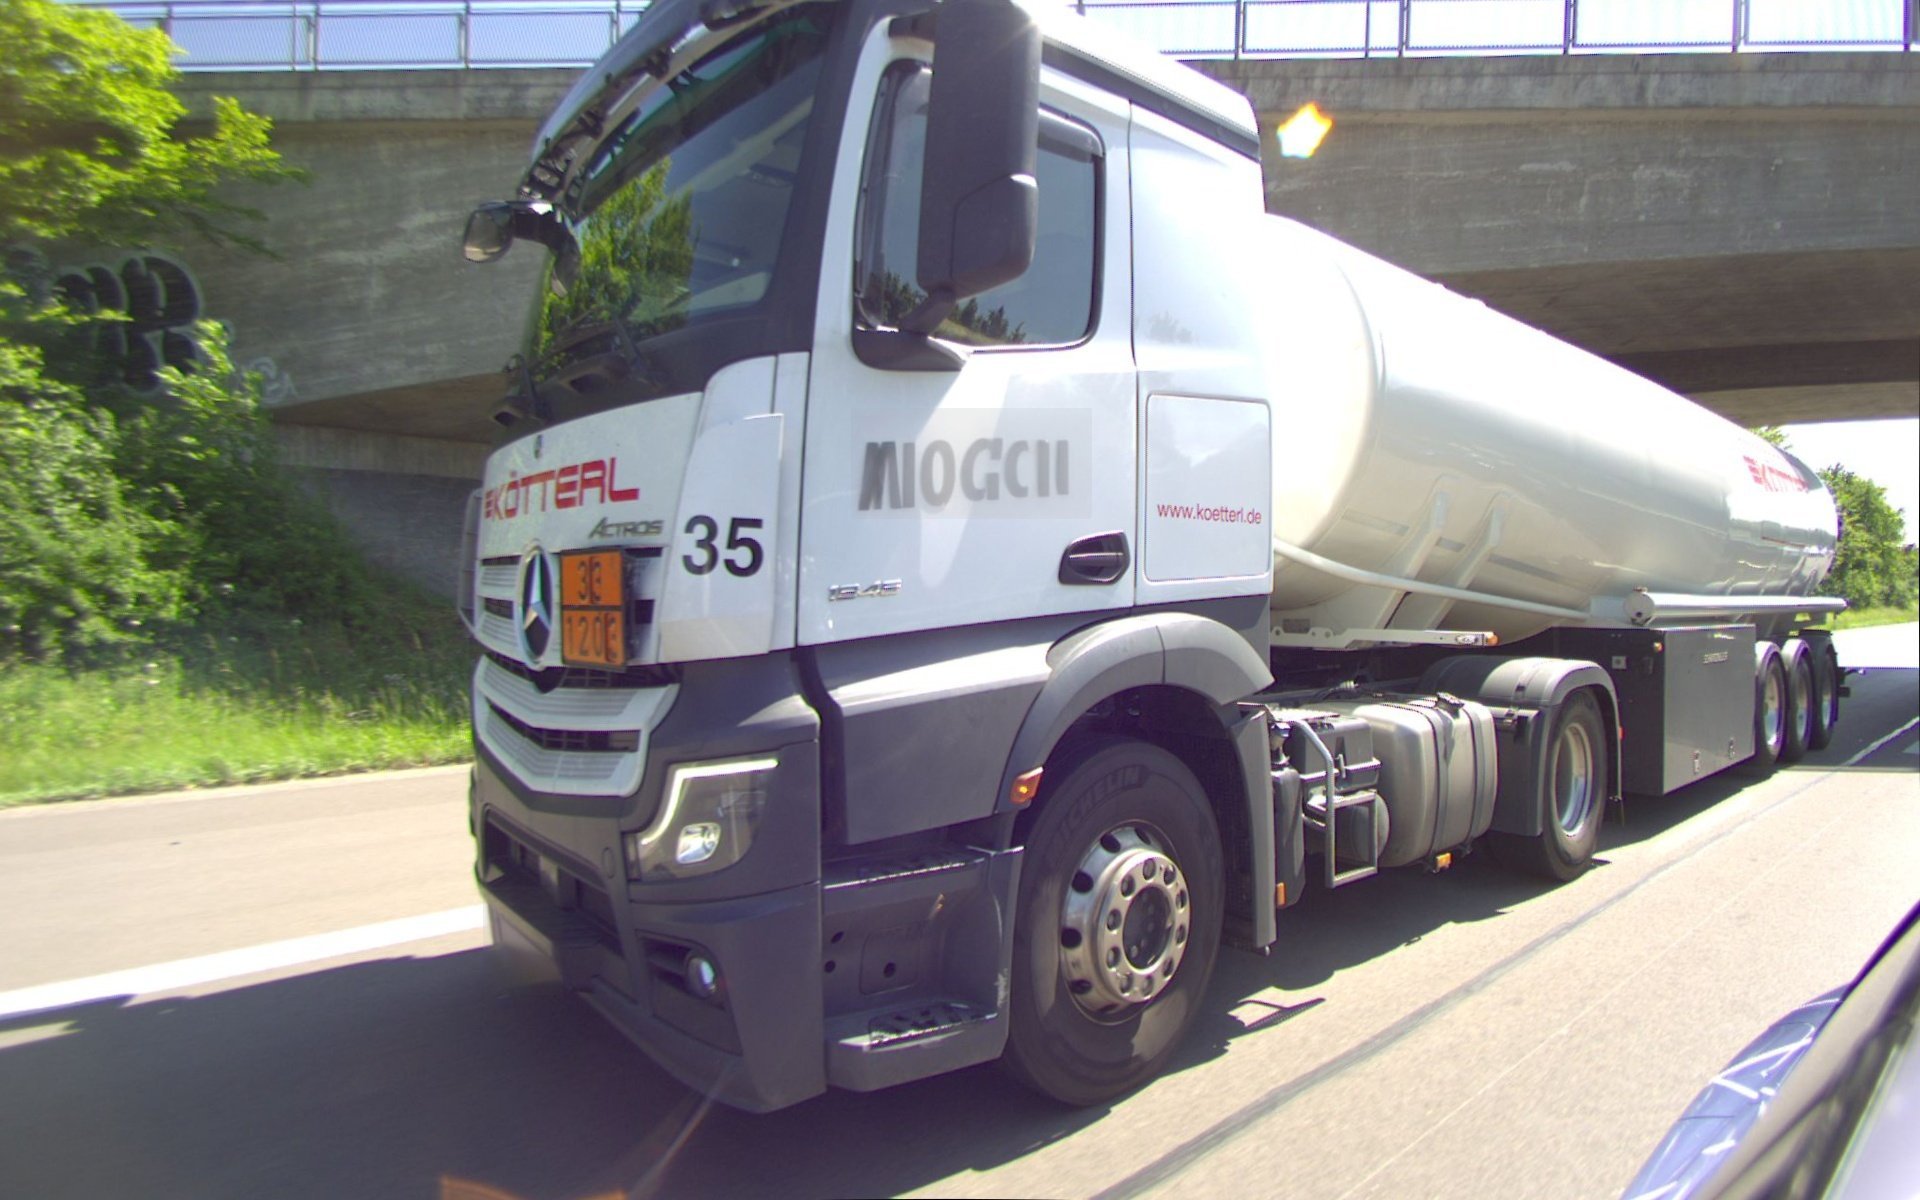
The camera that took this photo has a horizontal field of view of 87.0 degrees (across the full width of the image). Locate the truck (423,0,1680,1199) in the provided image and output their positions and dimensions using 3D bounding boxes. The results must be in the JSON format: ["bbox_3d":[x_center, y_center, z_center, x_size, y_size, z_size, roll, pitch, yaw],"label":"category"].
[{"bbox_3d":[1.141,-0.321,5.086,6.374,3.417,2.642,0,0,-41],"label":"truck"}]

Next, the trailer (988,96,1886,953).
[{"bbox_3d":[5.189,-0.325,8.625,10.954,3.433,2.653,0,0,-40],"label":"trailer"}]
